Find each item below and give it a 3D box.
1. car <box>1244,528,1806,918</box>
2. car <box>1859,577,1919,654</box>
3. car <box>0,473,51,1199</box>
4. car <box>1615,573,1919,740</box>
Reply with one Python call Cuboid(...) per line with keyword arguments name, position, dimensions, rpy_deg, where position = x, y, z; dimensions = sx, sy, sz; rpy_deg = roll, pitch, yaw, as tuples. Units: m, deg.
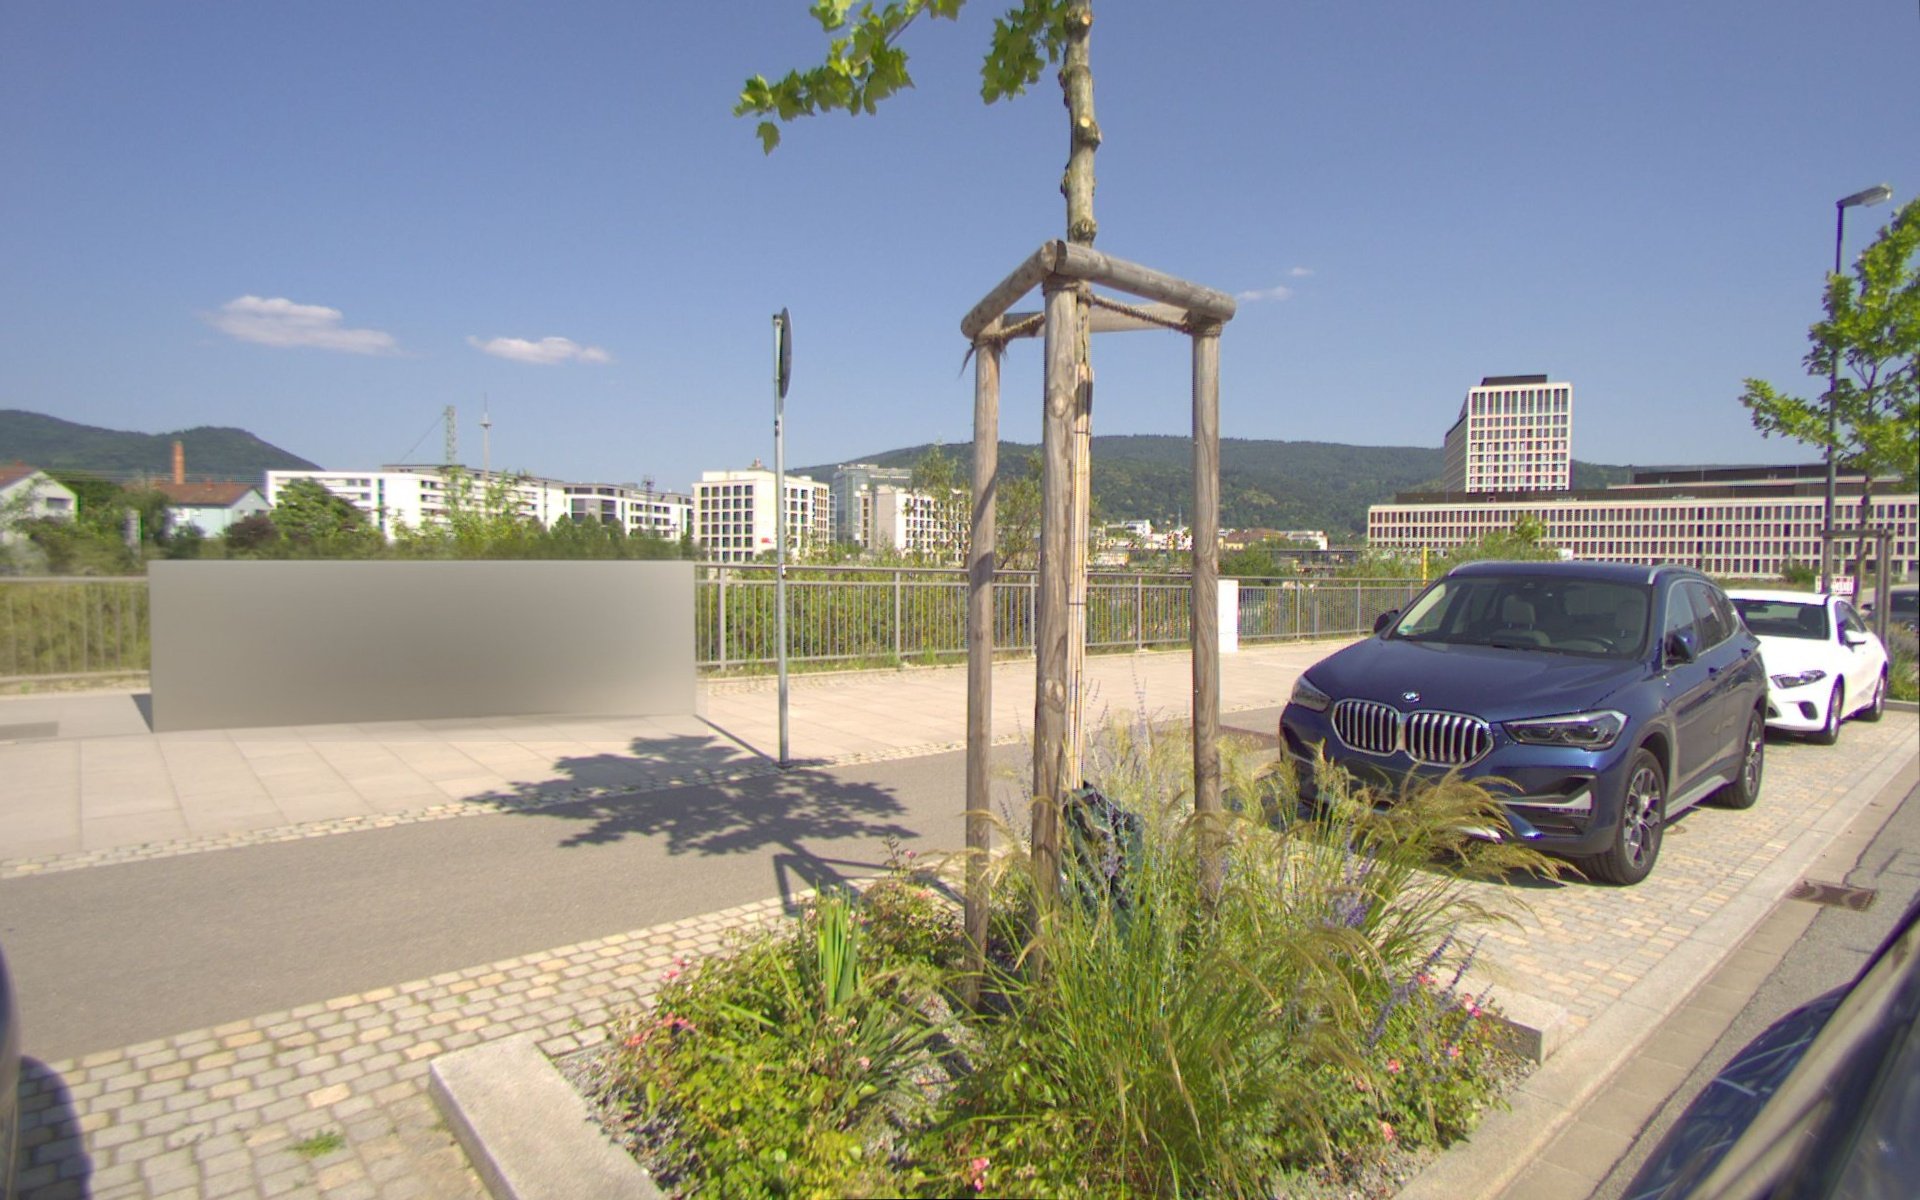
Cuboid(name="car", position=(3.810, 0.454, 6.489), dimensions=(4.197, 1.703, 1.807), rpy_deg=(-1, 4, -41))
Cuboid(name="car", position=(20.217, 0.298, 21.004), dimensions=(3.849, 1.449, 1.808), rpy_deg=(-1, 5, -41))
Cuboid(name="car", position=(-2.828, 0.600, 0.506), dimensions=(3.485, 1.574, 1.585), rpy_deg=(0, 4, -42))
Cuboid(name="car", position=(8.889, 0.455, 10.993), dimensions=(4.194, 1.390, 1.711), rpy_deg=(-1, 5, -39))
